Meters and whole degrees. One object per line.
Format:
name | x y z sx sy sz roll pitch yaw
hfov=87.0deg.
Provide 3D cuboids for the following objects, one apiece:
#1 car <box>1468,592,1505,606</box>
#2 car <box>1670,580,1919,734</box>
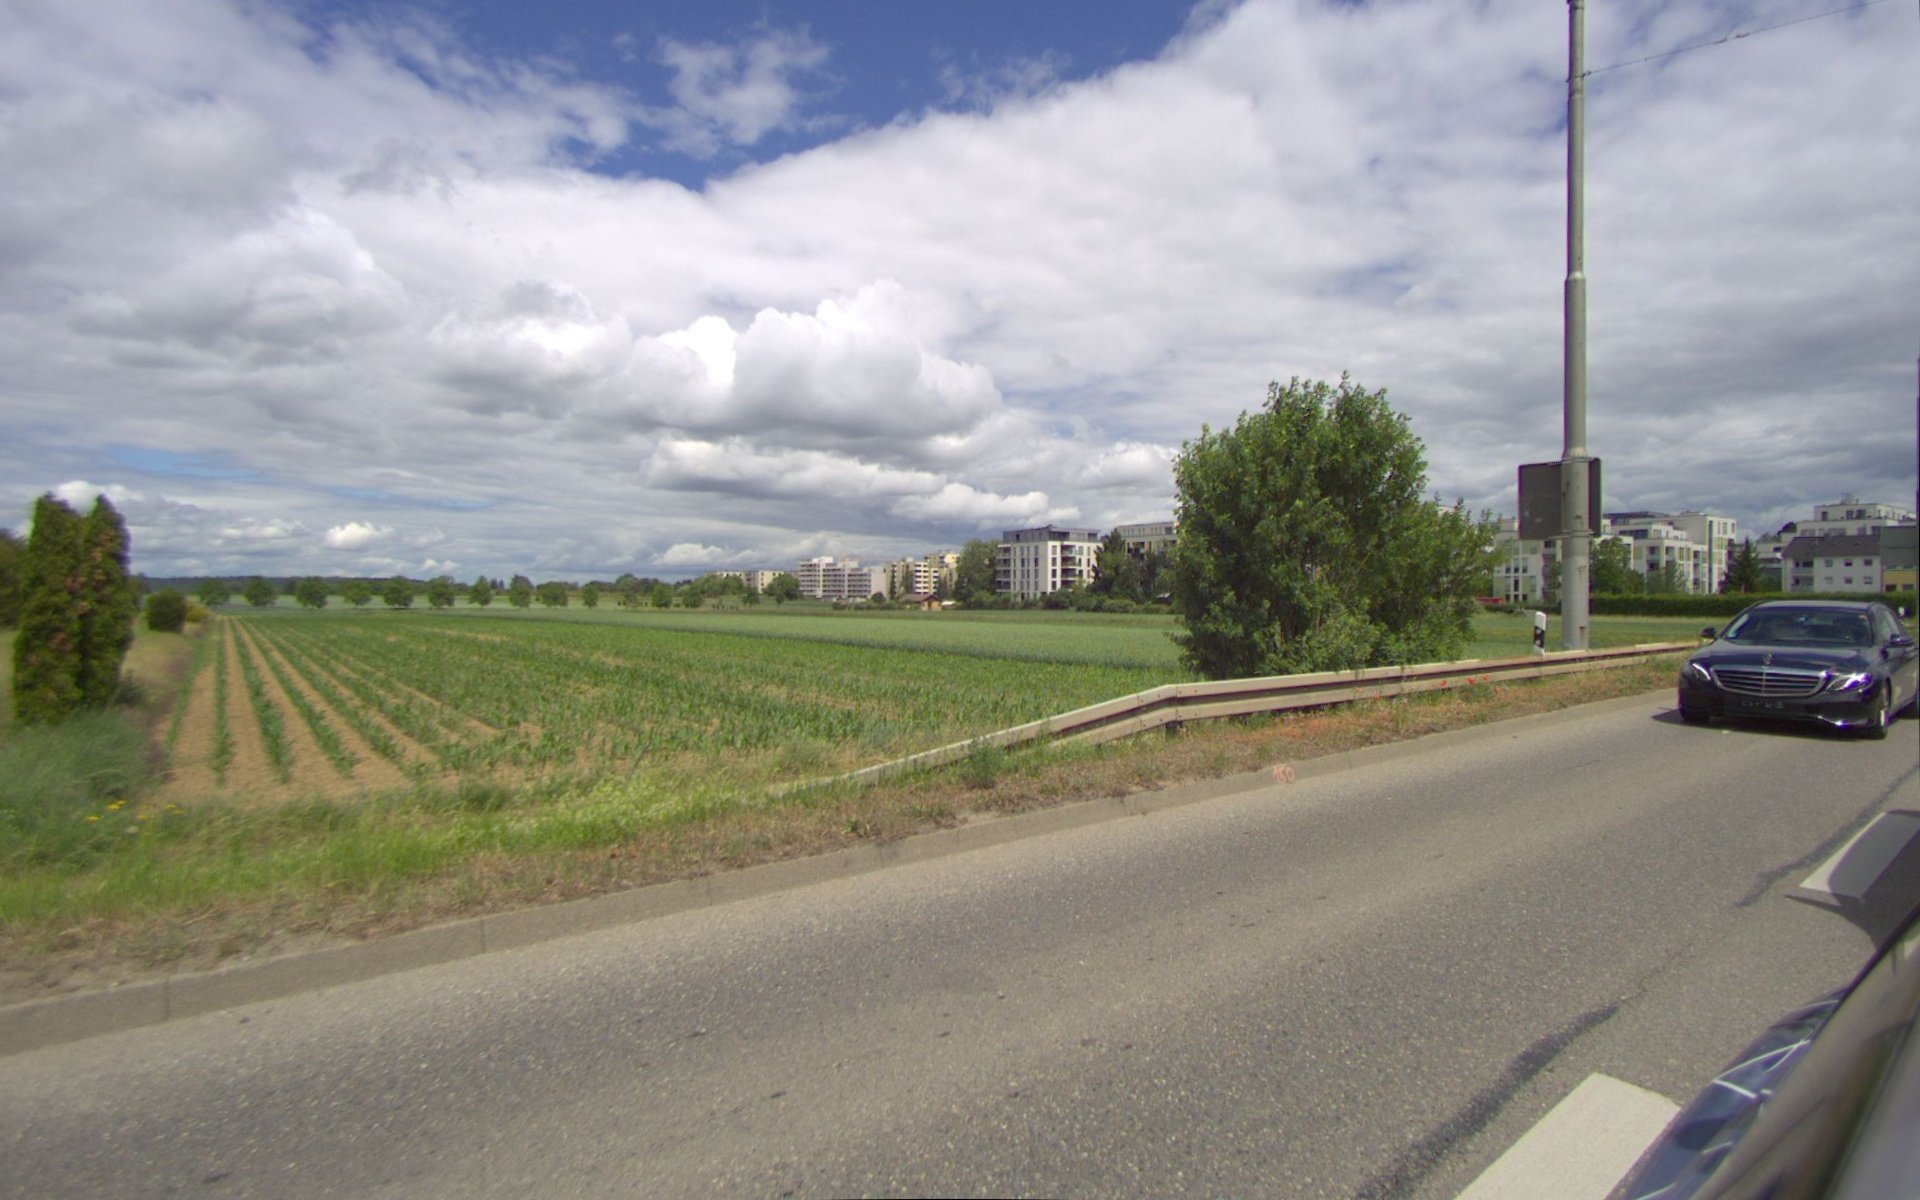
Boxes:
car | 76.829 -0.145 147.683 1.964 2.039 4.436 -1 1 -39
car | 10.574 0.638 12.517 4.720 1.557 1.841 2 -1 -41
